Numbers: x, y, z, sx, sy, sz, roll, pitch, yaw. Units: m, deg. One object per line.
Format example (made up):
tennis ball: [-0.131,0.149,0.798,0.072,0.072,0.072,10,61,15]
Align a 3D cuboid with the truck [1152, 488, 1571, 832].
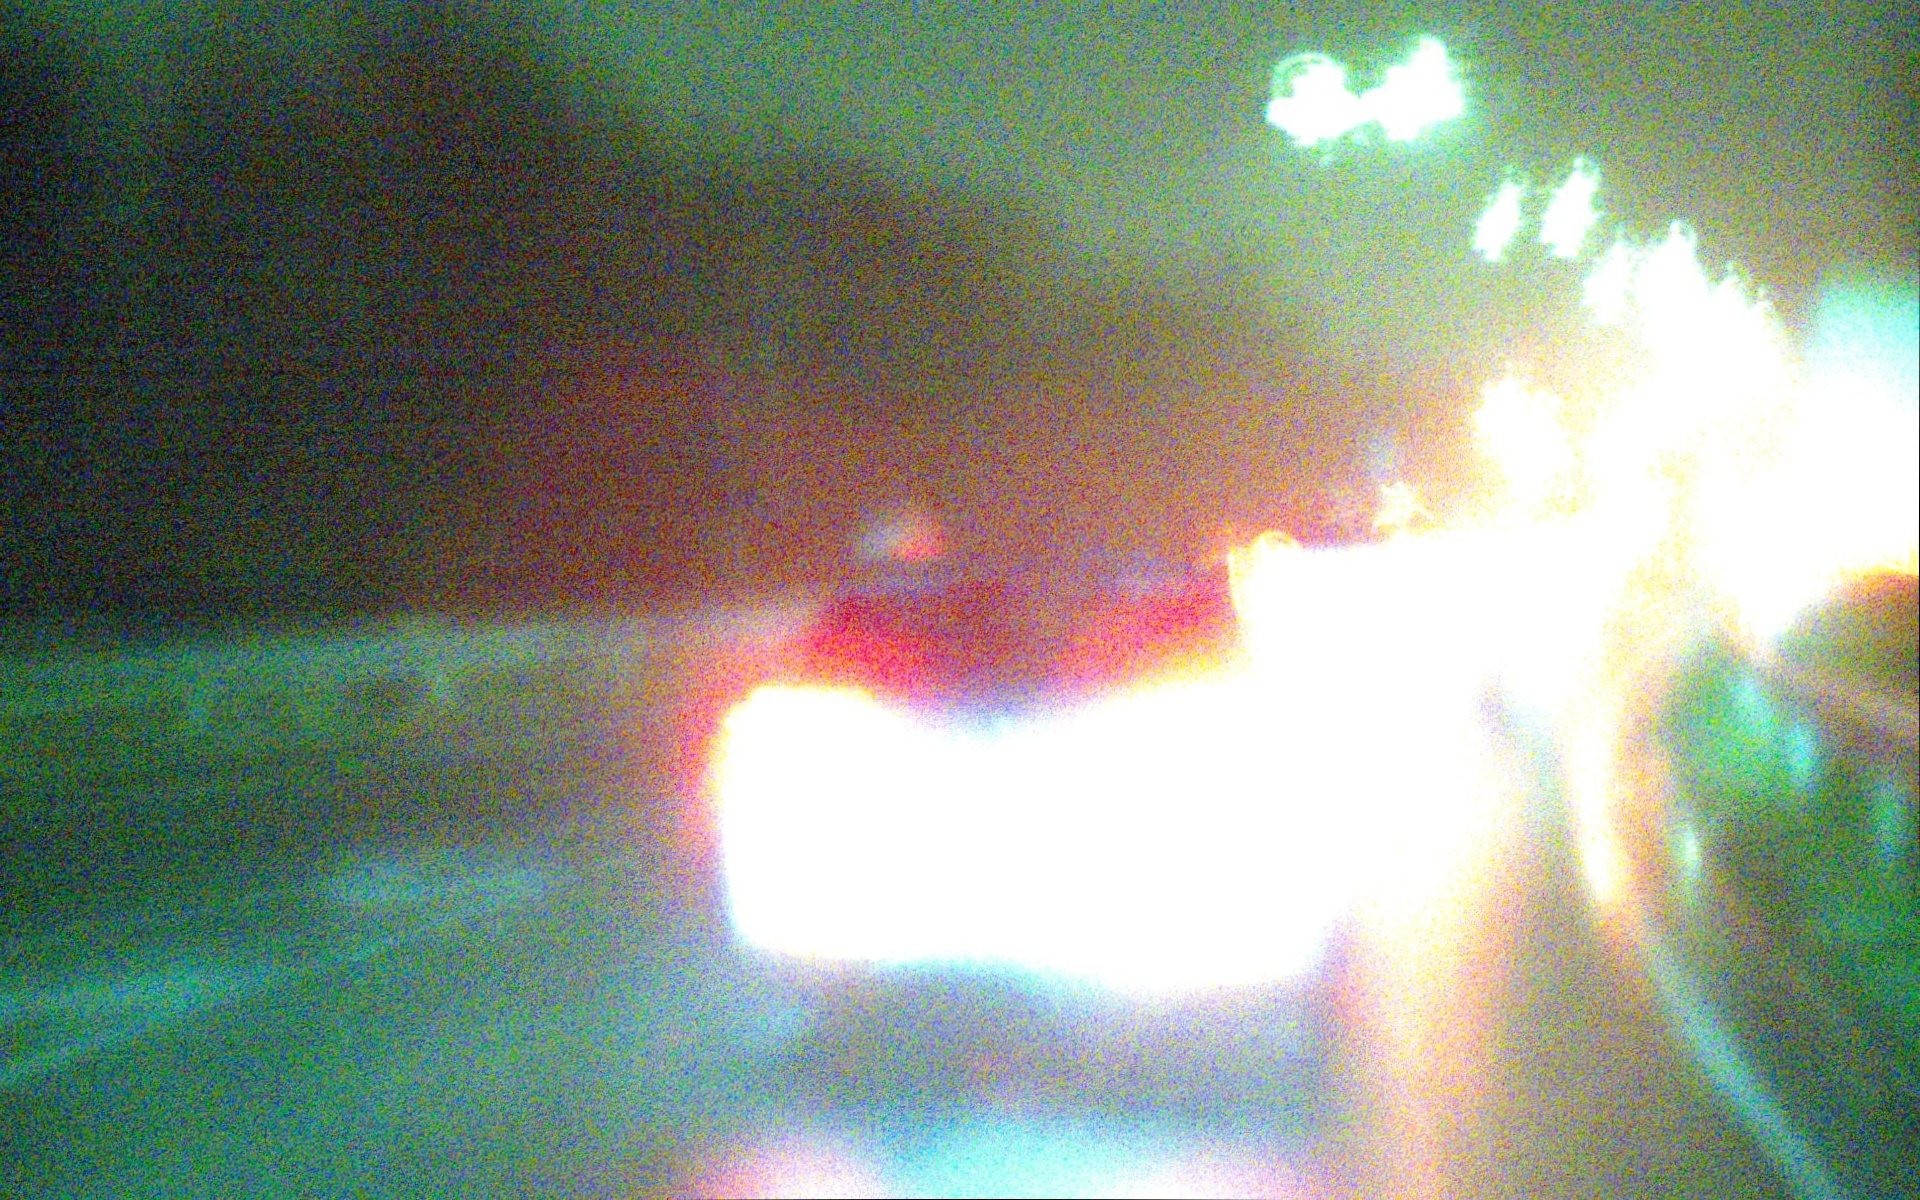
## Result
truck: [3.555,0.399,28.994,3.071,2.520,7.164,0,1,10]

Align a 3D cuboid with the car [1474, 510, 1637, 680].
car: [7.148,-0.076,41.437,1.837,1.942,3.998,0,1,9]

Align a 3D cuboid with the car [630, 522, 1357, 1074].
car: [0.294,0.514,11.216,1.945,1.486,3.715,-1,1,7]

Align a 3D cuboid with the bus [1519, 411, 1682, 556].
bus: [14.698,-2.660,78.388,2.746,3.112,9.195,0,2,16]
